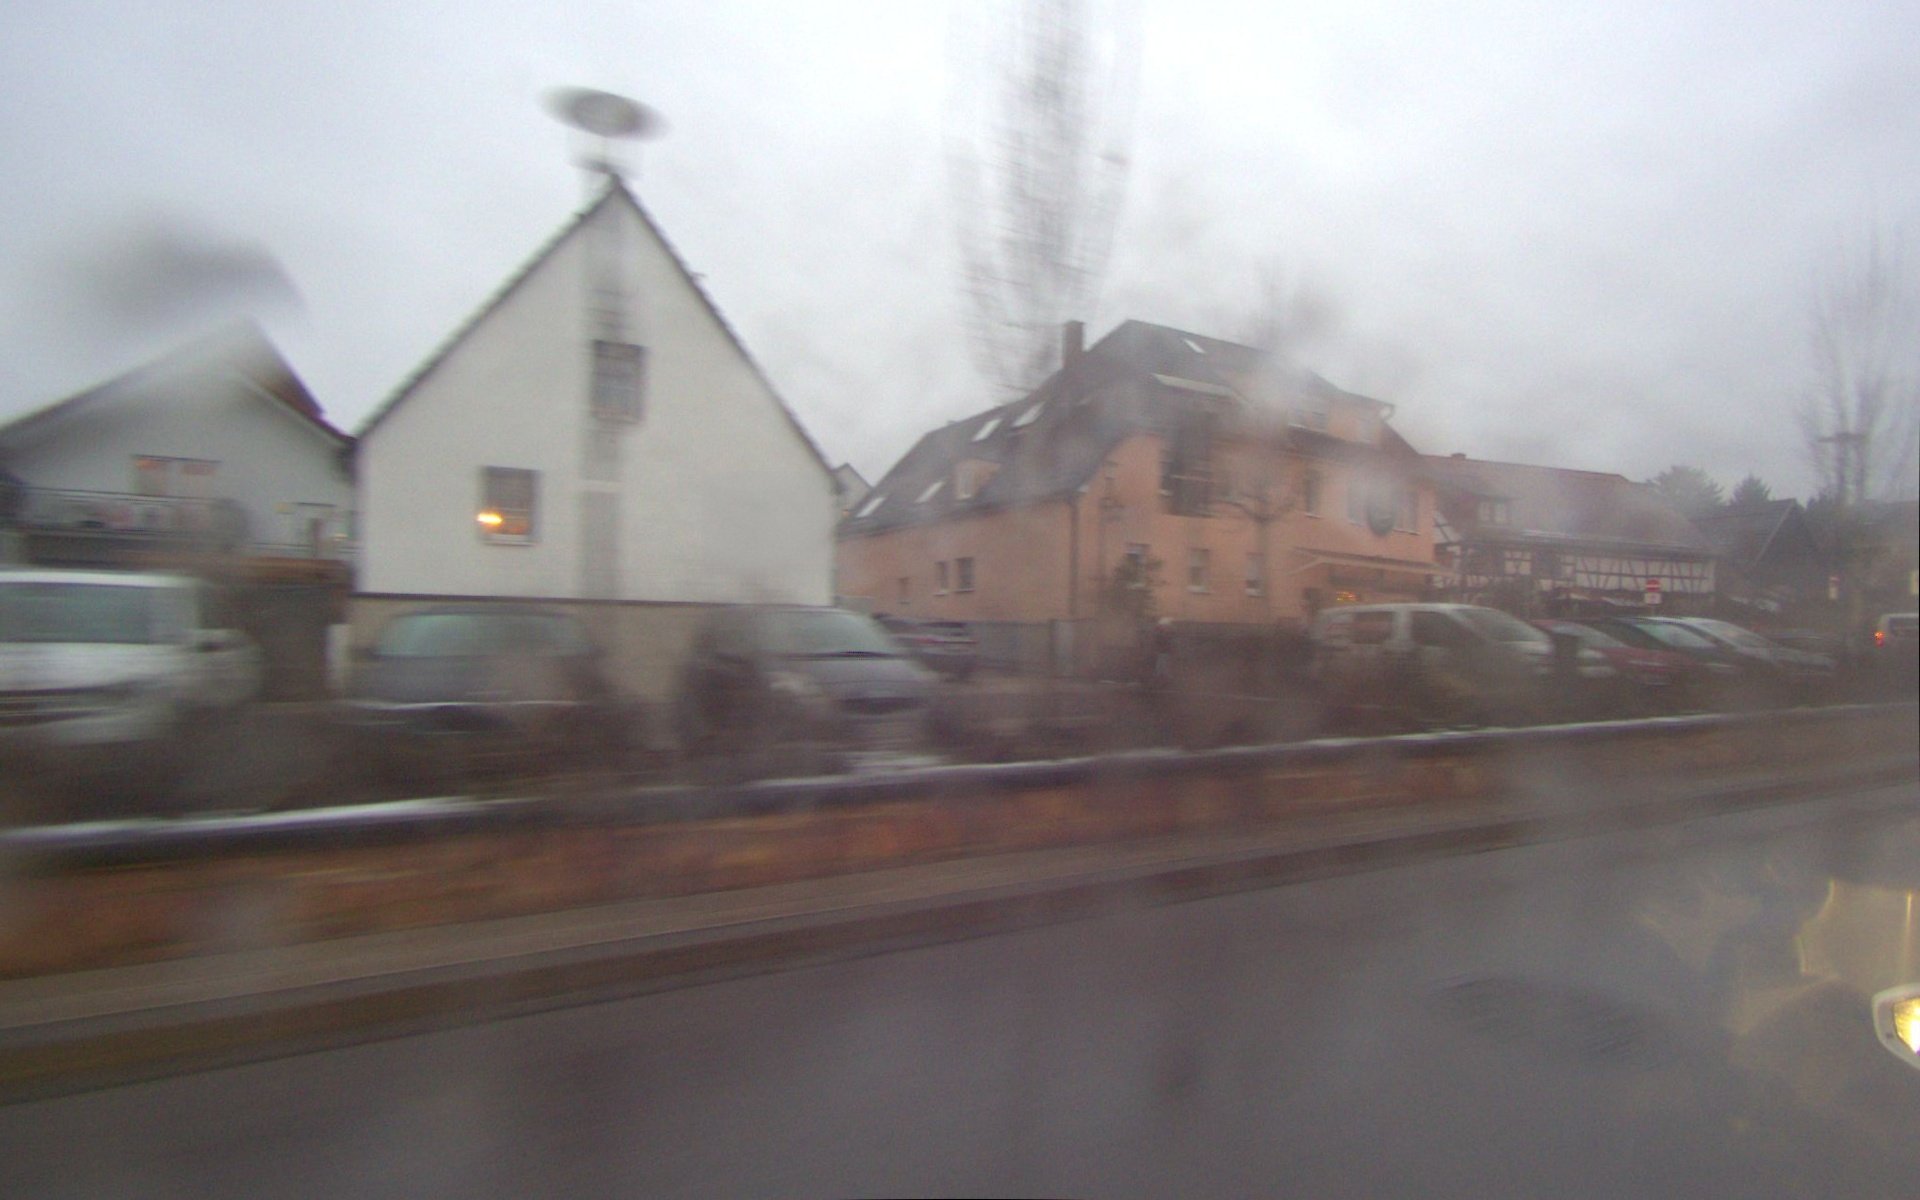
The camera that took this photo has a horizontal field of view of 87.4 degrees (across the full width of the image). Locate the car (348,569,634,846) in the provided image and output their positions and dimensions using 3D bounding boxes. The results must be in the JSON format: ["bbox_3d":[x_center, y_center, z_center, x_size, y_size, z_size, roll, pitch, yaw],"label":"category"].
[{"bbox_3d":[-3.787,0.659,8.103,1.567,1.629,4.078,2,-1,-27],"label":"car"}]

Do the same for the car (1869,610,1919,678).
[{"bbox_3d":[27.739,1.279,26.539,1.684,1.842,5.394,2,0,-17],"label":"car"}]

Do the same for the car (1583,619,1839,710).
[{"bbox_3d":[14.197,1.164,19.196,1.687,1.466,3.533,2,0,-26],"label":"car"}]

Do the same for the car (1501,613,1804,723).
[{"bbox_3d":[12.035,1.096,17.781,1.636,1.665,4.153,2,-1,-26],"label":"car"}]

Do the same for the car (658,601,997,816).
[{"bbox_3d":[-1.501,0.854,9.615,1.856,1.517,4.111,4,-1,-28],"label":"car"}]

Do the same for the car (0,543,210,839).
[{"bbox_3d":[-6.208,0.460,6.709,1.697,1.543,3.769,2,-1,-34],"label":"car"}]

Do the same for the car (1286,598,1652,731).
[{"bbox_3d":[7.467,0.851,15.243,1.978,1.689,4.599,2,-1,-32],"label":"car"}]

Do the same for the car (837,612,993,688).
[{"bbox_3d":[-1.182,1.169,24.434,1.979,1.518,4.061,4,-1,-32],"label":"car"}]

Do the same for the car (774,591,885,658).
[{"bbox_3d":[-3.723,0.685,28.382,1.587,1.680,3.060,4,-1,-42],"label":"car"}]

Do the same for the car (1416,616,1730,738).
[{"bbox_3d":[9.864,1.153,16.544,1.657,1.674,4.184,2,-1,-26],"label":"car"}]
